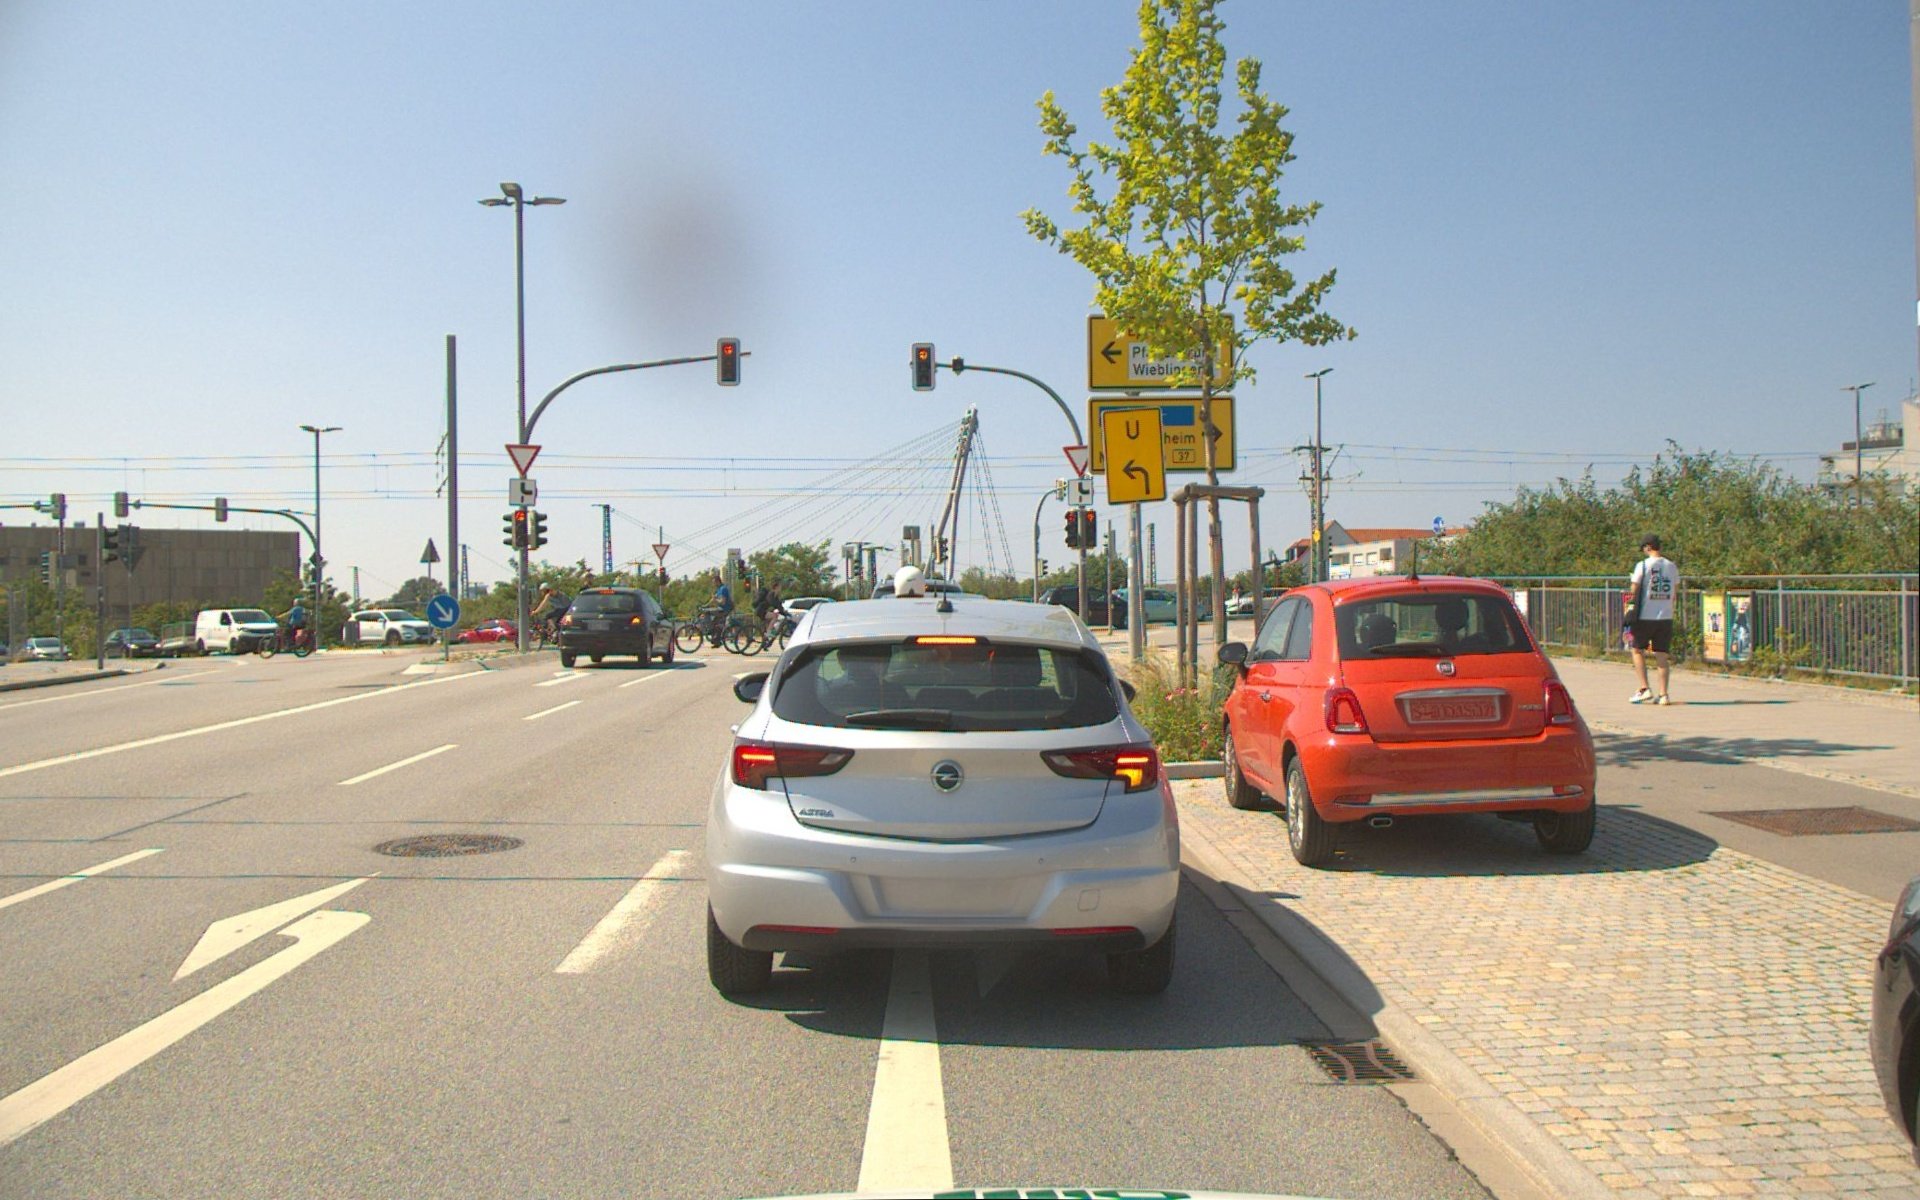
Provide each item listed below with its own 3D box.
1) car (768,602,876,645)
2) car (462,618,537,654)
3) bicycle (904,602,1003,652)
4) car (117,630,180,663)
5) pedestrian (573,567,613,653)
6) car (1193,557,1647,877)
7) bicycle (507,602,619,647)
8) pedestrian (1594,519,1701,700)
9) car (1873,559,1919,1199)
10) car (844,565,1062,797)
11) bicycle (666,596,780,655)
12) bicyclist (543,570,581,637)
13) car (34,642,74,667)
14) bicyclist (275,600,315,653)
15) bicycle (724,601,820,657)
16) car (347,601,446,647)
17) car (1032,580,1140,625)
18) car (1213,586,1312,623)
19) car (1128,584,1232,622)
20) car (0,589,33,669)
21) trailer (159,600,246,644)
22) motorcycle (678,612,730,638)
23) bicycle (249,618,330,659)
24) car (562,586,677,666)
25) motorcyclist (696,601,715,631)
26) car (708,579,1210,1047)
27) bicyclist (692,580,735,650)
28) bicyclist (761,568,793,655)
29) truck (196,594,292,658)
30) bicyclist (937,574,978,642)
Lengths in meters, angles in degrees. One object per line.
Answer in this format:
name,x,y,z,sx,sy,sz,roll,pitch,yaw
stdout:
car,-5.230,0.892,62.875,3.891,1.578,1.676,-1,-1,3
car,-22.430,1.734,80.553,3.316,1.684,1.645,1,-1,29
bicycle,-0.159,0.653,39.691,2.311,1.147,0.677,1,-1,-4
car,-38.220,2.169,77.839,1.653,1.414,3.727,2,-1,-43
pedestrian,-8.266,0.233,37.312,0.725,1.896,0.753,1,-1,-4
car,2.623,0.563,10.384,1.636,1.566,3.916,-2,1,-1
bicycle,-9.233,0.567,38.481,2.453,1.025,0.605,0,0,-1
pedestrian,7.282,0.102,17.554,0.743,1.862,0.885,1,-1,-1
car,2.932,0.680,2.025,1.549,1.582,3.546,-3,1,-1
car,-0.096,0.631,14.313,1.602,1.703,3.744,1,-1,-2
bicycle,-5.539,0.590,38.778,2.472,1.153,0.729,-4,2,2
bicyclist,-9.248,0.095,38.487,0.643,1.528,0.843,1,-1,0
car,-47.190,2.828,86.160,1.269,1.262,2.445,1,0,-43
bicyclist,-19.368,0.764,48.210,0.703,1.530,0.825,0,-1,15
bicycle,-4.201,0.650,37.005,2.038,1.198,0.555,1,-1,1
car,-23.386,0.984,68.614,3.964,1.846,1.925,0,0,35
car,4.590,0.112,60.502,3.675,1.611,1.811,0,0,-6
car,14.217,0.216,77.825,4.180,1.703,1.990,1,0,-18
car,8.511,0.102,64.098,3.717,1.386,1.530,-1,0,-6
car,-25.749,0.731,44.179,1.652,2.049,3.961,2,-1,-29
trailer,-33.066,0.945,72.140,4.211,1.807,1.987,1,-1,43
motorcycle,-12.912,1.241,83.416,2.485,1.255,0.648,1,-1,-2
bicycle,-19.559,1.122,48.248,2.270,1.153,0.637,0,0,17
car,-6.363,0.475,31.192,1.555,1.419,3.339,0,-1,-1
motorcyclist,-12.834,0.808,83.461,0.792,1.502,0.885,1,-1,-1
car,-0.050,0.708,7.624,1.656,1.546,4.269,0,0,-1
bicyclist,-5.774,0.352,38.787,0.805,1.587,0.863,1,-1,2
bicyclist,-4.089,0.256,36.998,0.581,1.920,0.637,1,-1,2
truck,-29.968,1.054,69.176,4.627,2.585,1.987,0,-1,43
bicyclist,-0.067,0.196,39.664,0.926,1.596,0.822,1,-1,-4
